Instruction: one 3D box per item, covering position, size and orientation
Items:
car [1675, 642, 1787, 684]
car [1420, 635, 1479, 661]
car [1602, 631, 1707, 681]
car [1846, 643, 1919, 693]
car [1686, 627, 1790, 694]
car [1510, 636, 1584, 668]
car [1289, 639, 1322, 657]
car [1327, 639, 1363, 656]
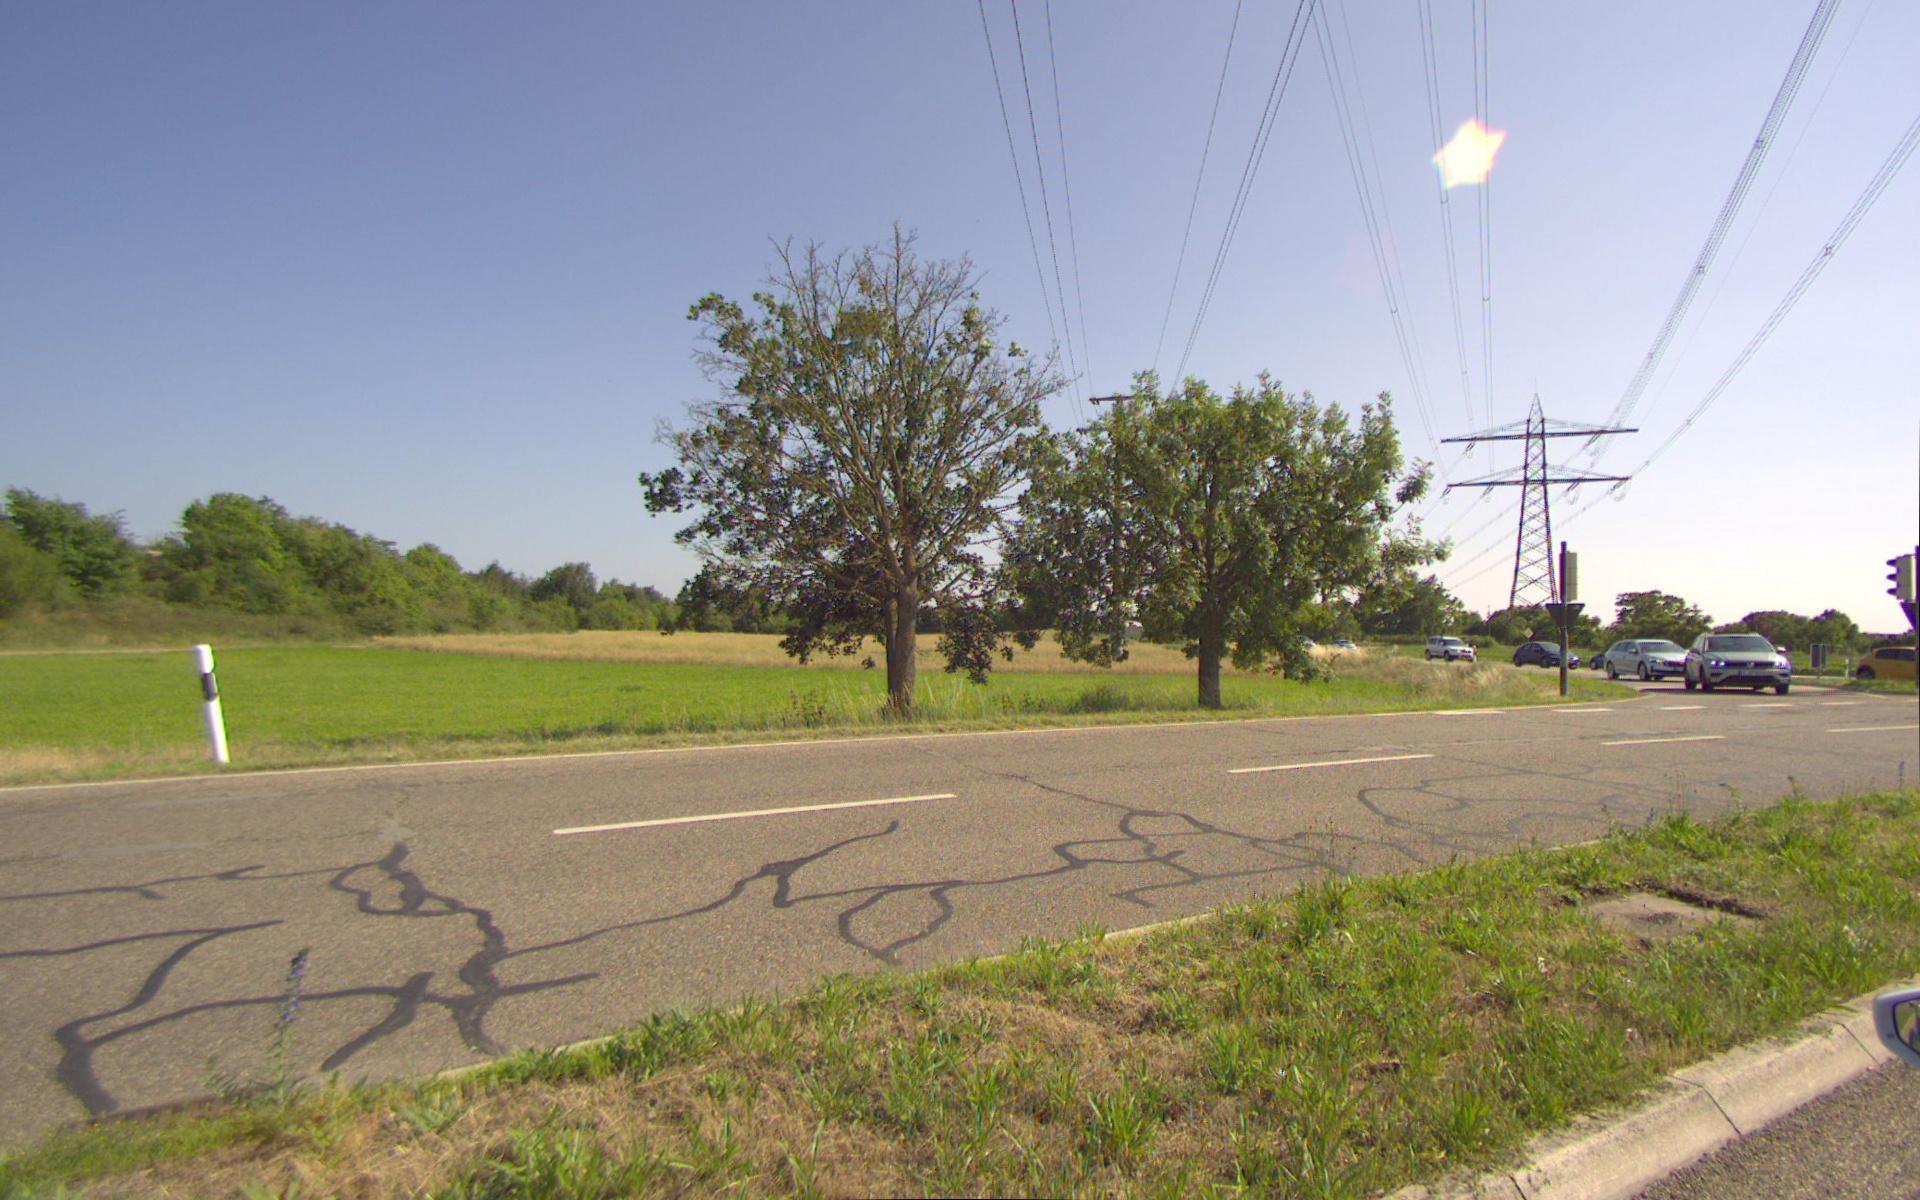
[{"bbox_3d":[33.624,2.701,43.934,1.785,1.673,4.000,1,-1,-2],"label":"car"},{"bbox_3d":[32.552,3.171,66.871,1.785,1.505,3.998,2,0,-3],"label":"car"},{"bbox_3d":[24.943,1.973,36.235,1.783,1.673,4.003,1,-2,13],"label":"car"},{"bbox_3d":[33.606,2.388,35.049,1.785,1.673,4.000,1,-1,-2],"label":"car"},{"bbox_3d":[21.273,1.616,27.615,1.788,1.673,3.992,0,-2,31],"label":"car"},{"bbox_3d":[33.081,2.918,56.735,1.785,1.673,4.000,1,-1,-2],"label":"car"},{"bbox_3d":[32.936,4.554,95.818,1.784,1.505,4.000,2,0,1],"label":"car"},{"bbox_3d":[37.534,4.606,98.053,1.773,1.539,3.879,1,-2,-4],"label":"car"}]
